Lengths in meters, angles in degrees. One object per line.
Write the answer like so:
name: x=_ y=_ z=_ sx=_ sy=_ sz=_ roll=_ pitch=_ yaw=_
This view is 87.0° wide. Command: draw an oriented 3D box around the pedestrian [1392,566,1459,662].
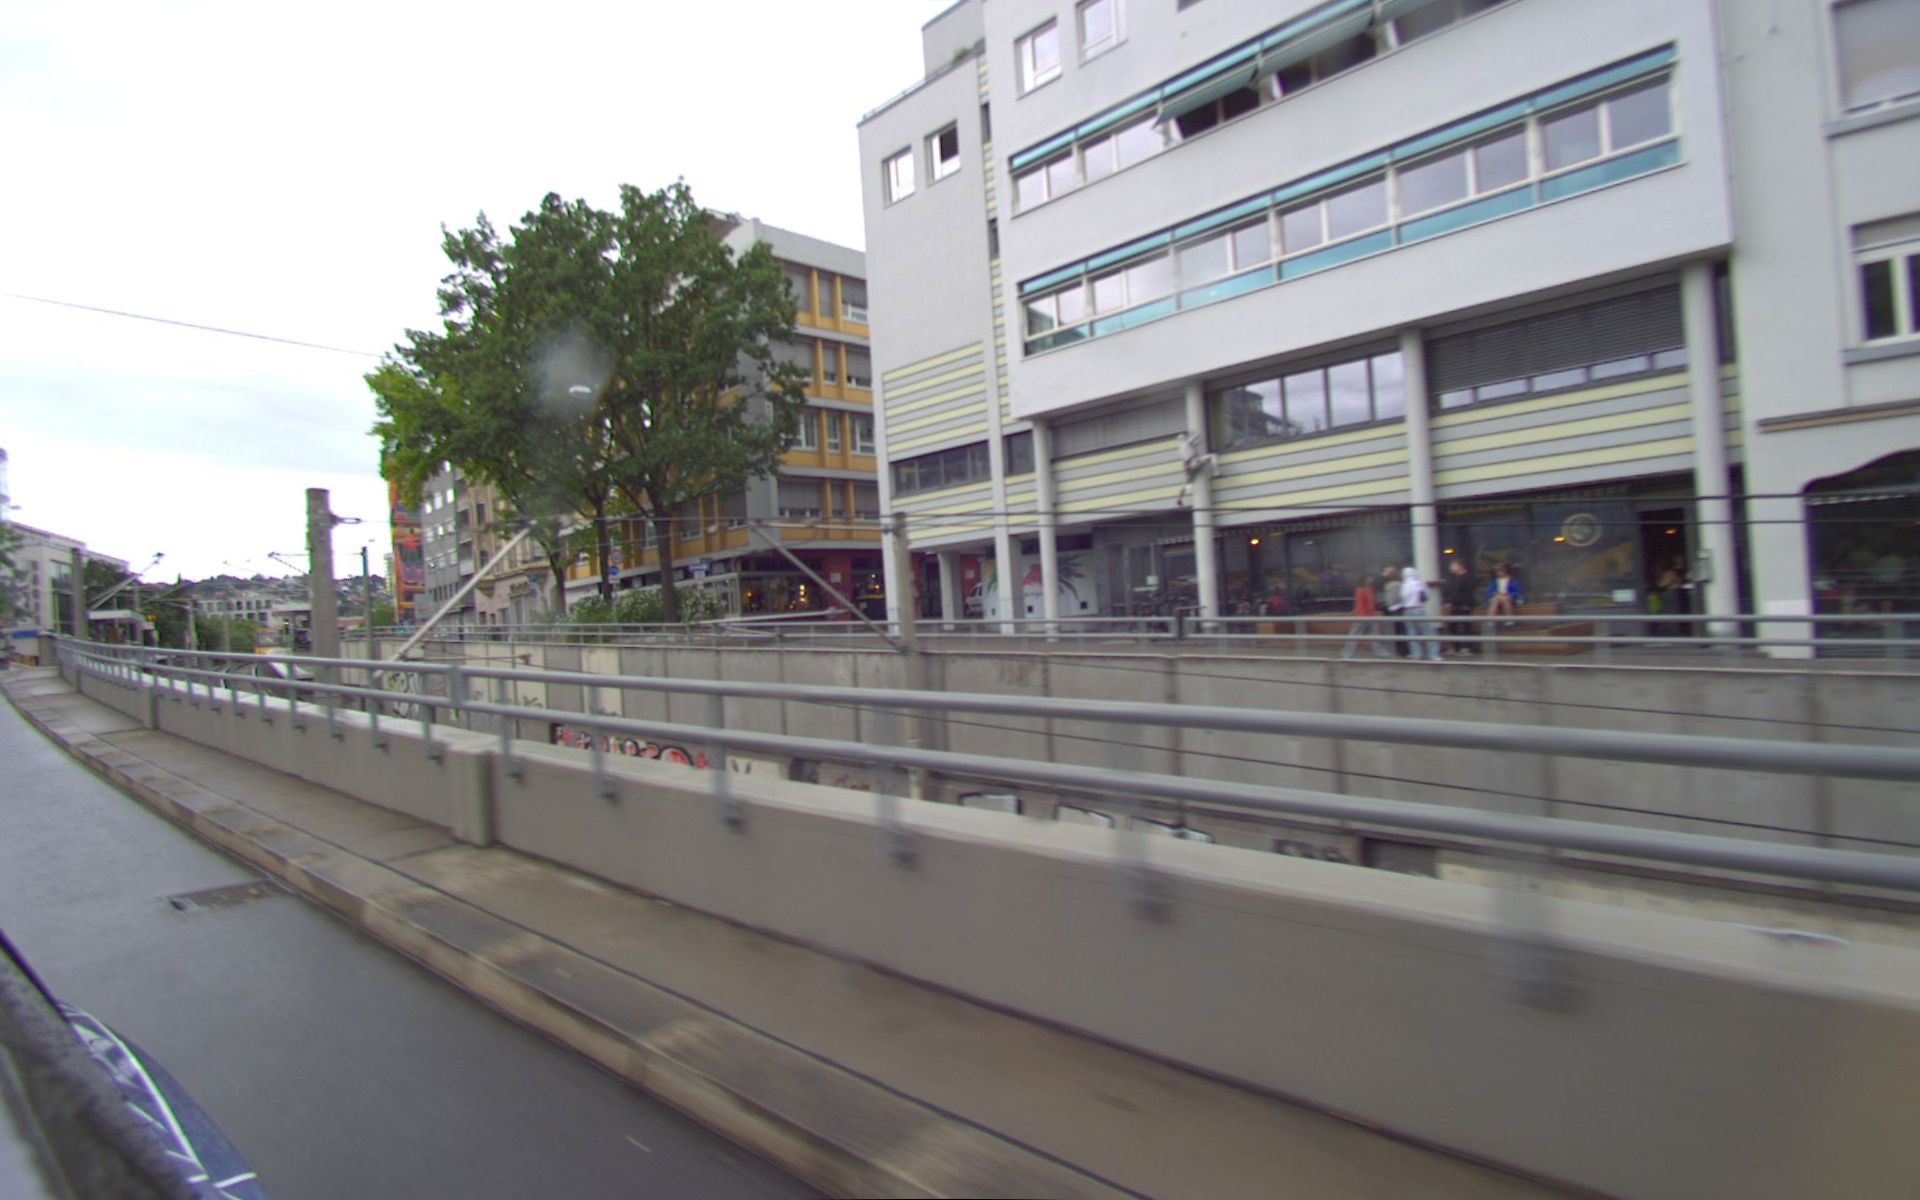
pedestrian: x=8.381 y=0.247 z=18.240 sx=0.783 sy=1.655 sz=0.674 roll=-3 pitch=0 yaw=-4

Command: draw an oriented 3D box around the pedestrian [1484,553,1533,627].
pedestrian: x=10.960 y=-0.197 z=20.224 sx=0.674 sy=1.429 sz=0.600 roll=-3 pitch=0 yaw=44

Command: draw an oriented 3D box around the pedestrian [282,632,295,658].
pedestrian: x=-44.726 y=2.989 z=67.414 sx=0.624 sy=1.673 sz=0.684 roll=0 pitch=-4 yaw=-31

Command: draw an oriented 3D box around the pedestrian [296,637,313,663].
pedestrian: x=-42.003 y=3.201 z=64.846 sx=0.761 sy=1.661 sz=0.780 roll=3 pitch=-5 yaw=-30

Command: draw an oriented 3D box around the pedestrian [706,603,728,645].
pedestrian: x=-10.919 y=1.091 z=45.480 sx=0.657 sy=1.863 sz=0.831 roll=0 pitch=-2 yaw=-42

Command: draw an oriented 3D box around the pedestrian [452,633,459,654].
pedestrian: x=-41.305 y=3.532 z=82.858 sx=0.415 sy=1.695 sz=0.609 roll=-4 pitch=-1 yaw=-23

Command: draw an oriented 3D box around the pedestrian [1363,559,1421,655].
pedestrian: x=8.332 y=0.133 z=19.522 sx=0.937 sy=1.798 sz=0.668 roll=-3 pitch=0 yaw=25

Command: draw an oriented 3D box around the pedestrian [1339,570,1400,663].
pedestrian: x=7.434 y=0.304 z=18.380 sx=0.937 sy=1.628 sz=0.668 roll=-3 pitch=0 yaw=25

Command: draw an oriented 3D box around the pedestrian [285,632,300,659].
pedestrian: x=-42.081 y=2.900 z=63.826 sx=0.668 sy=1.661 sz=0.898 roll=3 pitch=-5 yaw=-30

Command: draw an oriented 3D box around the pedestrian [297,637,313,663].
pedestrian: x=-42.427 y=3.239 z=65.542 sx=0.761 sy=1.661 sz=0.780 roll=3 pitch=-5 yaw=-30

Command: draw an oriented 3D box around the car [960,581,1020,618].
car: x=1.503 y=-0.044 z=52.402 sx=1.799 sy=1.800 sz=4.013 roll=-3 pitch=1 yaw=-19

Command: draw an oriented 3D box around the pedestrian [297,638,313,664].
pedestrian: x=-43.020 y=3.332 z=66.441 sx=0.761 sy=1.661 sz=0.780 roll=3 pitch=-5 yaw=-30

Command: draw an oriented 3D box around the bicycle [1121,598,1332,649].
bicycle: x=6.129 y=0.536 z=23.627 sx=4.523 sy=1.051 sz=1.674 roll=-2 pitch=0 yaw=44

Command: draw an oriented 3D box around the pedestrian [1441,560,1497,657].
pedestrian: x=9.353 y=0.156 z=18.628 sx=0.601 sy=1.735 sz=0.674 roll=-3 pitch=0 yaw=-1

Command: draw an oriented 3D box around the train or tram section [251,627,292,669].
train or tram section: x=-70.681 y=5.002 z=103.969 sx=2.741 sy=3.719 sz=9.741 roll=-4 pitch=-3 yaw=-31

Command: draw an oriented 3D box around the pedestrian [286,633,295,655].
pedestrian: x=-49.011 y=3.227 z=74.098 sx=0.550 sy=1.549 sz=0.518 roll=0 pitch=-4 yaw=-34
